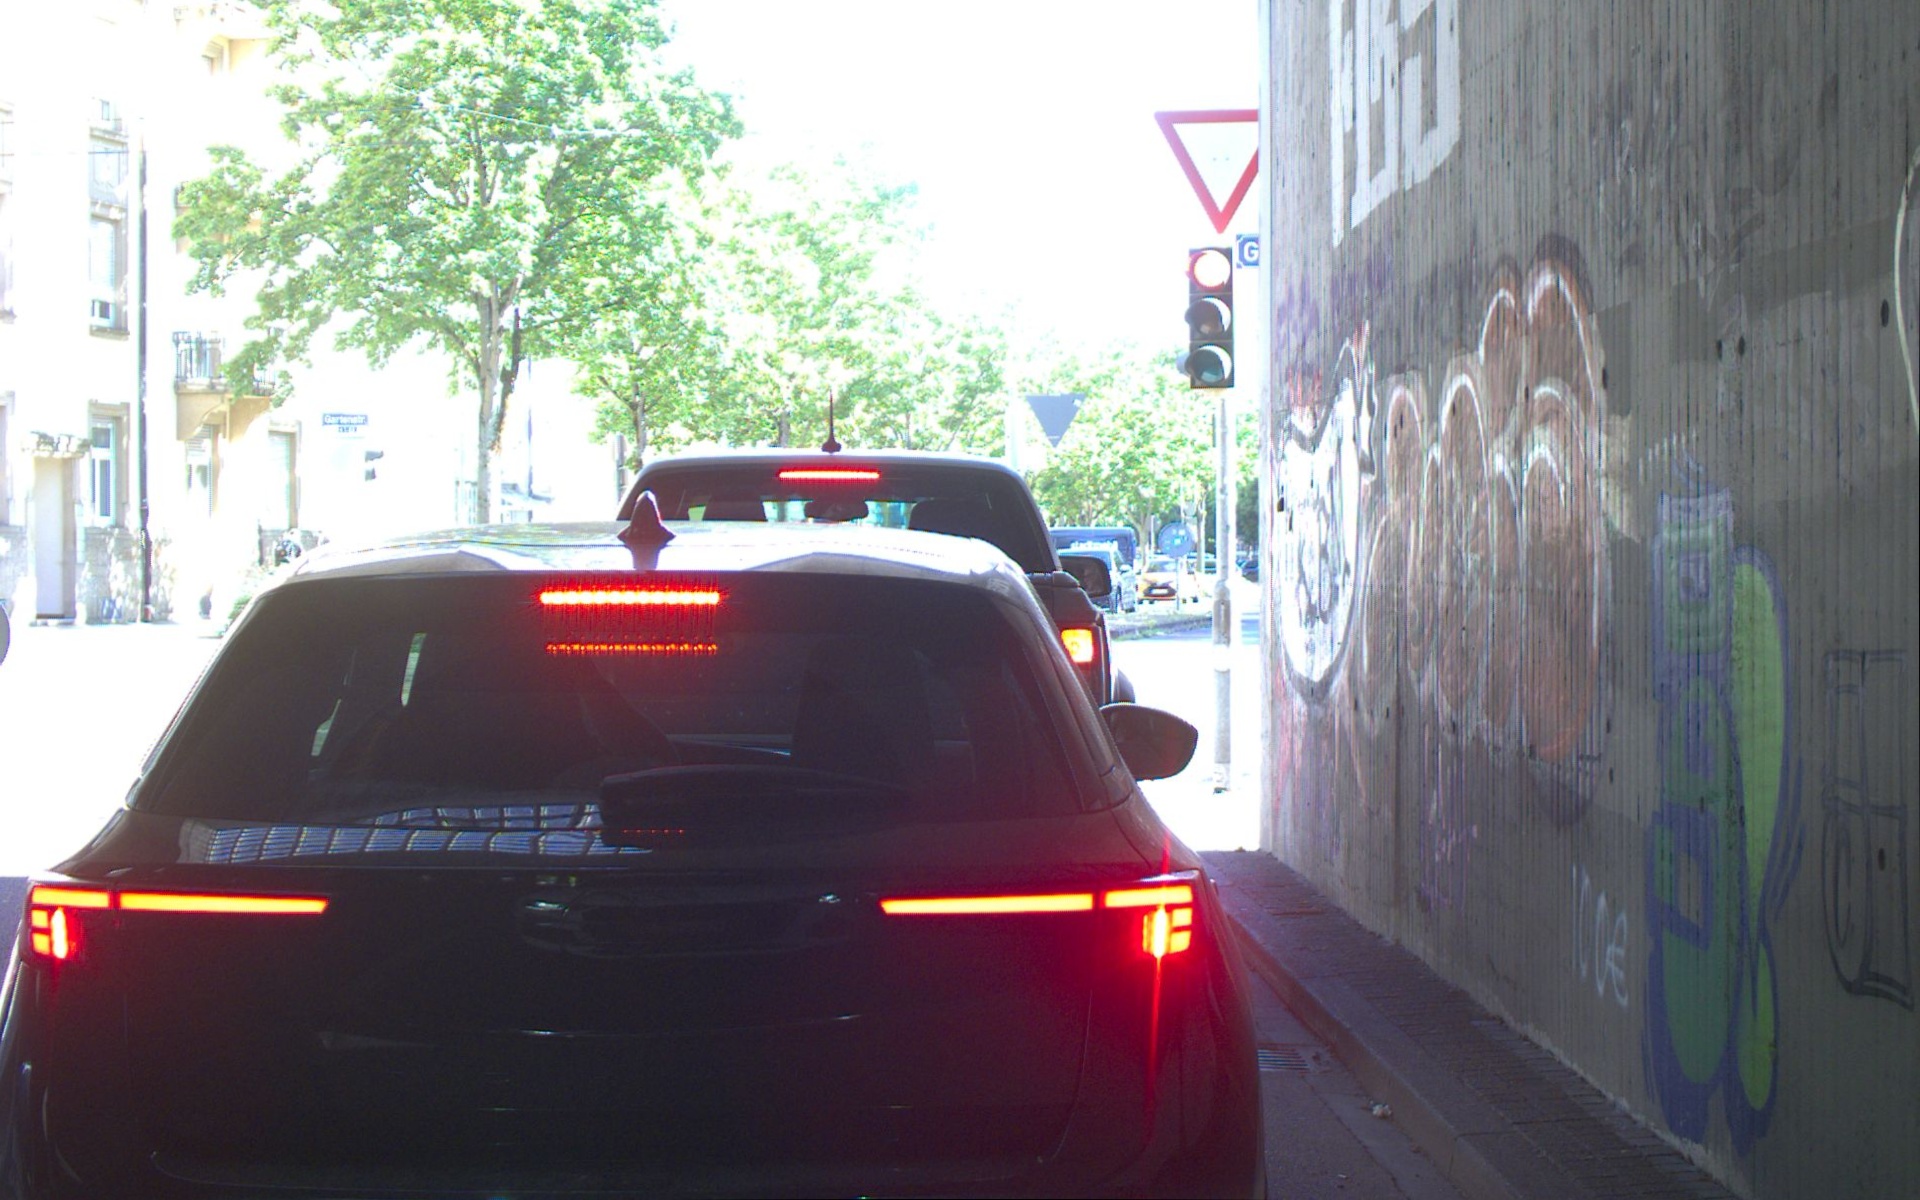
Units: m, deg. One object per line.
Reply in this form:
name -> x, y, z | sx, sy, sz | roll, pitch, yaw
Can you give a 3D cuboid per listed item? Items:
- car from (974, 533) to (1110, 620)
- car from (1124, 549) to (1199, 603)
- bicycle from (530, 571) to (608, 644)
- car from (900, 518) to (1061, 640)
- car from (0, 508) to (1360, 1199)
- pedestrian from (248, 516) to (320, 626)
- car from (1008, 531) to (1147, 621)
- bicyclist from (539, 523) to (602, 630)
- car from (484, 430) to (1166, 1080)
car -> 1.512, -0.396, 62.181 | 1.969, 1.492, 3.895 | 0, -1, 9
car -> 6.365, -0.760, 108.307 | 1.994, 1.656, 3.999 | 1, 1, 8
bicycle -> -5.851, 0.100, 51.502 | 0.732, 1.064, 1.688 | 1, 1, 9
car -> 0.303, -0.241, 44.159 | 1.968, 1.492, 3.896 | 0, -1, 1
car -> -0.489, 0.628, 6.056 | 1.882, 1.532, 3.964 | -1, 1, -1
pedestrian -> -12.419, -0.534, 63.187 | 0.992, 2.007, 1.088 | 0, 1, 8
car -> 2.398, -0.453, 68.991 | 2.221, 1.713, 4.458 | 0, -1, 10
bicyclist -> -5.833, -0.356, 51.527 | 0.729, 1.576, 0.814 | 1, 0, 9
car -> -0.410, 0.409, 11.877 | 1.945, 1.853, 3.964 | -1, 1, -1
